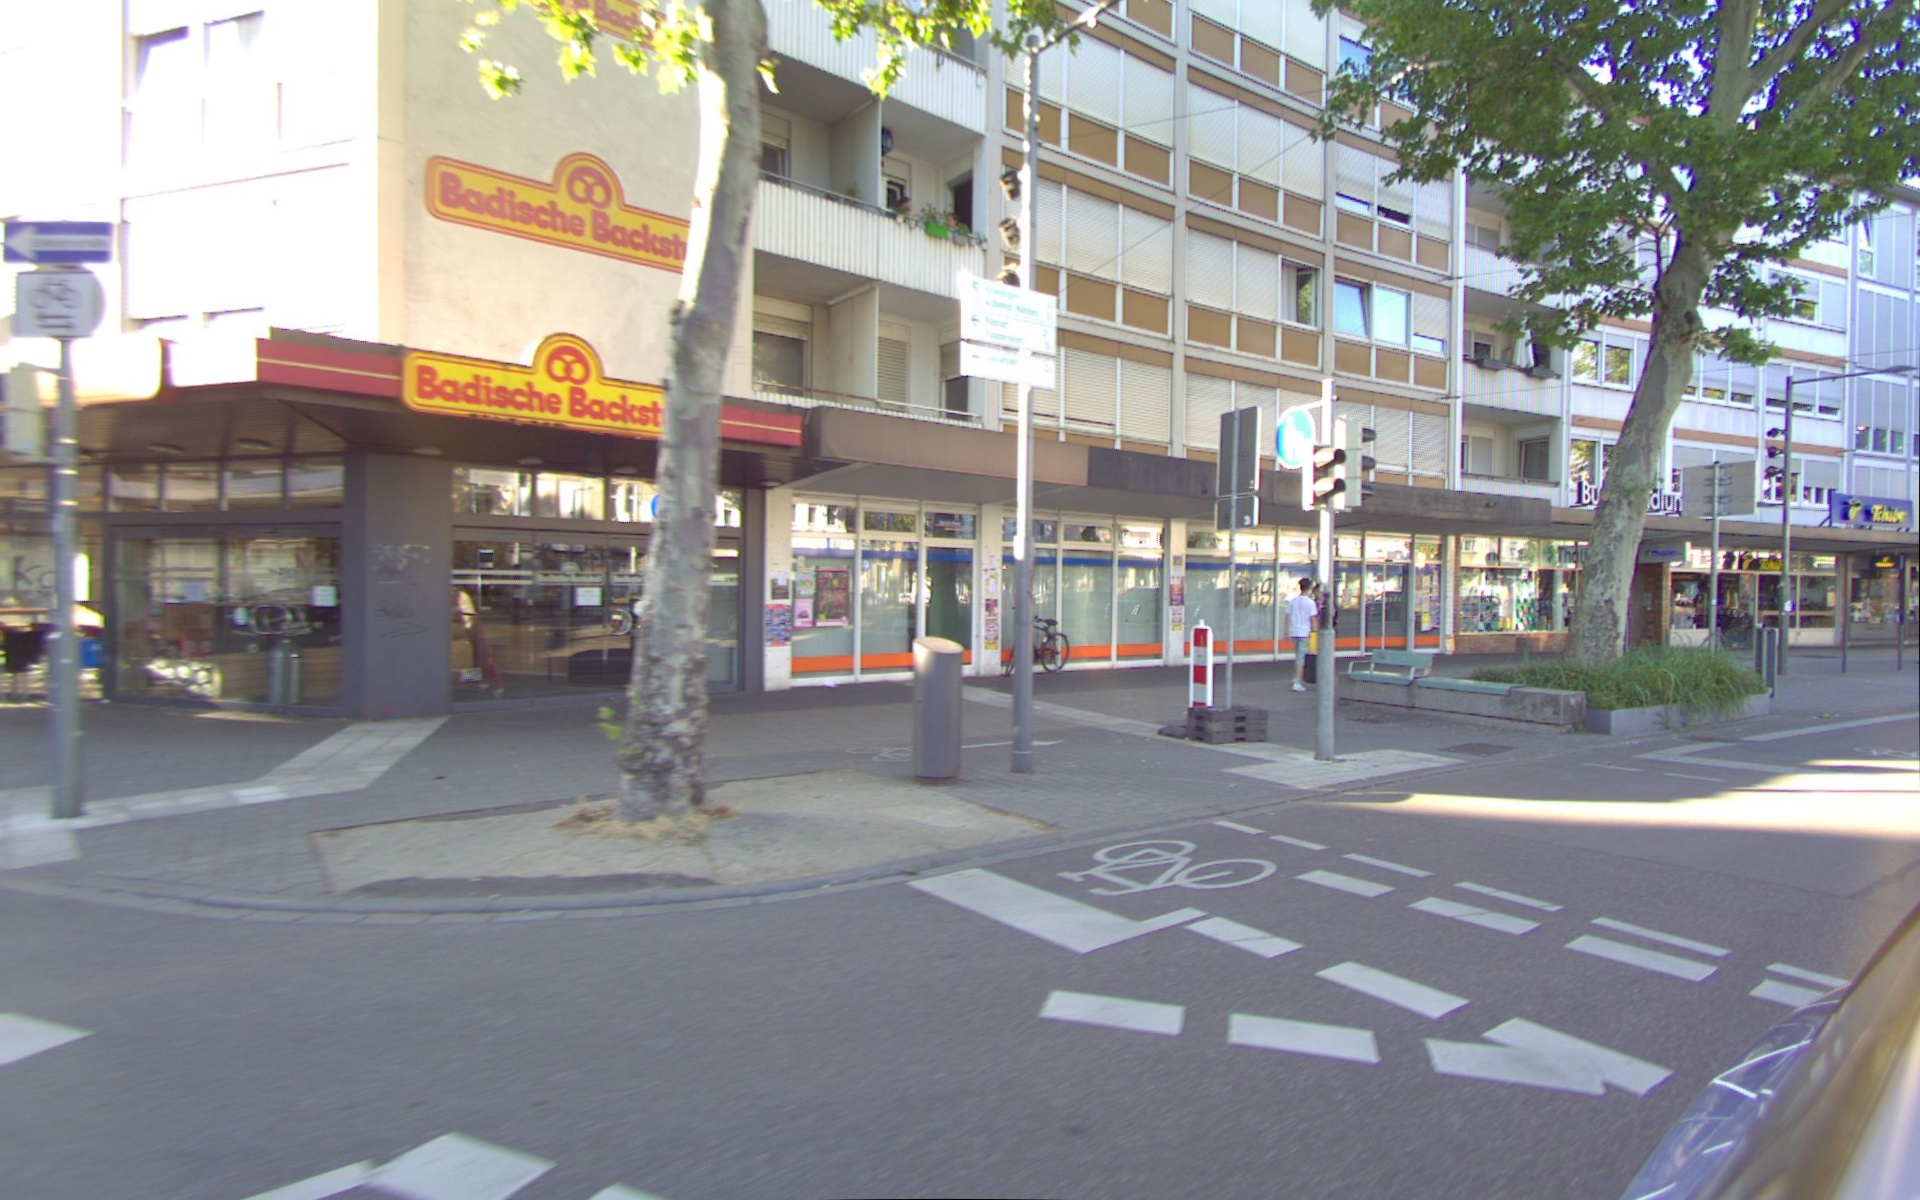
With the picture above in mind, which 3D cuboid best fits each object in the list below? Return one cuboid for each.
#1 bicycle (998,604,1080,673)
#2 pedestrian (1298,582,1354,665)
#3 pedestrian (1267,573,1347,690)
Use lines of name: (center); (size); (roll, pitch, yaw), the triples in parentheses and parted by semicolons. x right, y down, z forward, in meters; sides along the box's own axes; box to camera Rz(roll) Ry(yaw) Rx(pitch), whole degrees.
bicycle: (1.350, 0.638, 17.209); (1.435, 1.106, 0.439); (0, 3, -38)
pedestrian: (7.159, 0.442, 19.781); (0.792, 1.571, 0.642); (0, 2, -32)
pedestrian: (5.428, 0.467, 15.838); (0.780, 1.733, 0.836); (1, 2, -42)
